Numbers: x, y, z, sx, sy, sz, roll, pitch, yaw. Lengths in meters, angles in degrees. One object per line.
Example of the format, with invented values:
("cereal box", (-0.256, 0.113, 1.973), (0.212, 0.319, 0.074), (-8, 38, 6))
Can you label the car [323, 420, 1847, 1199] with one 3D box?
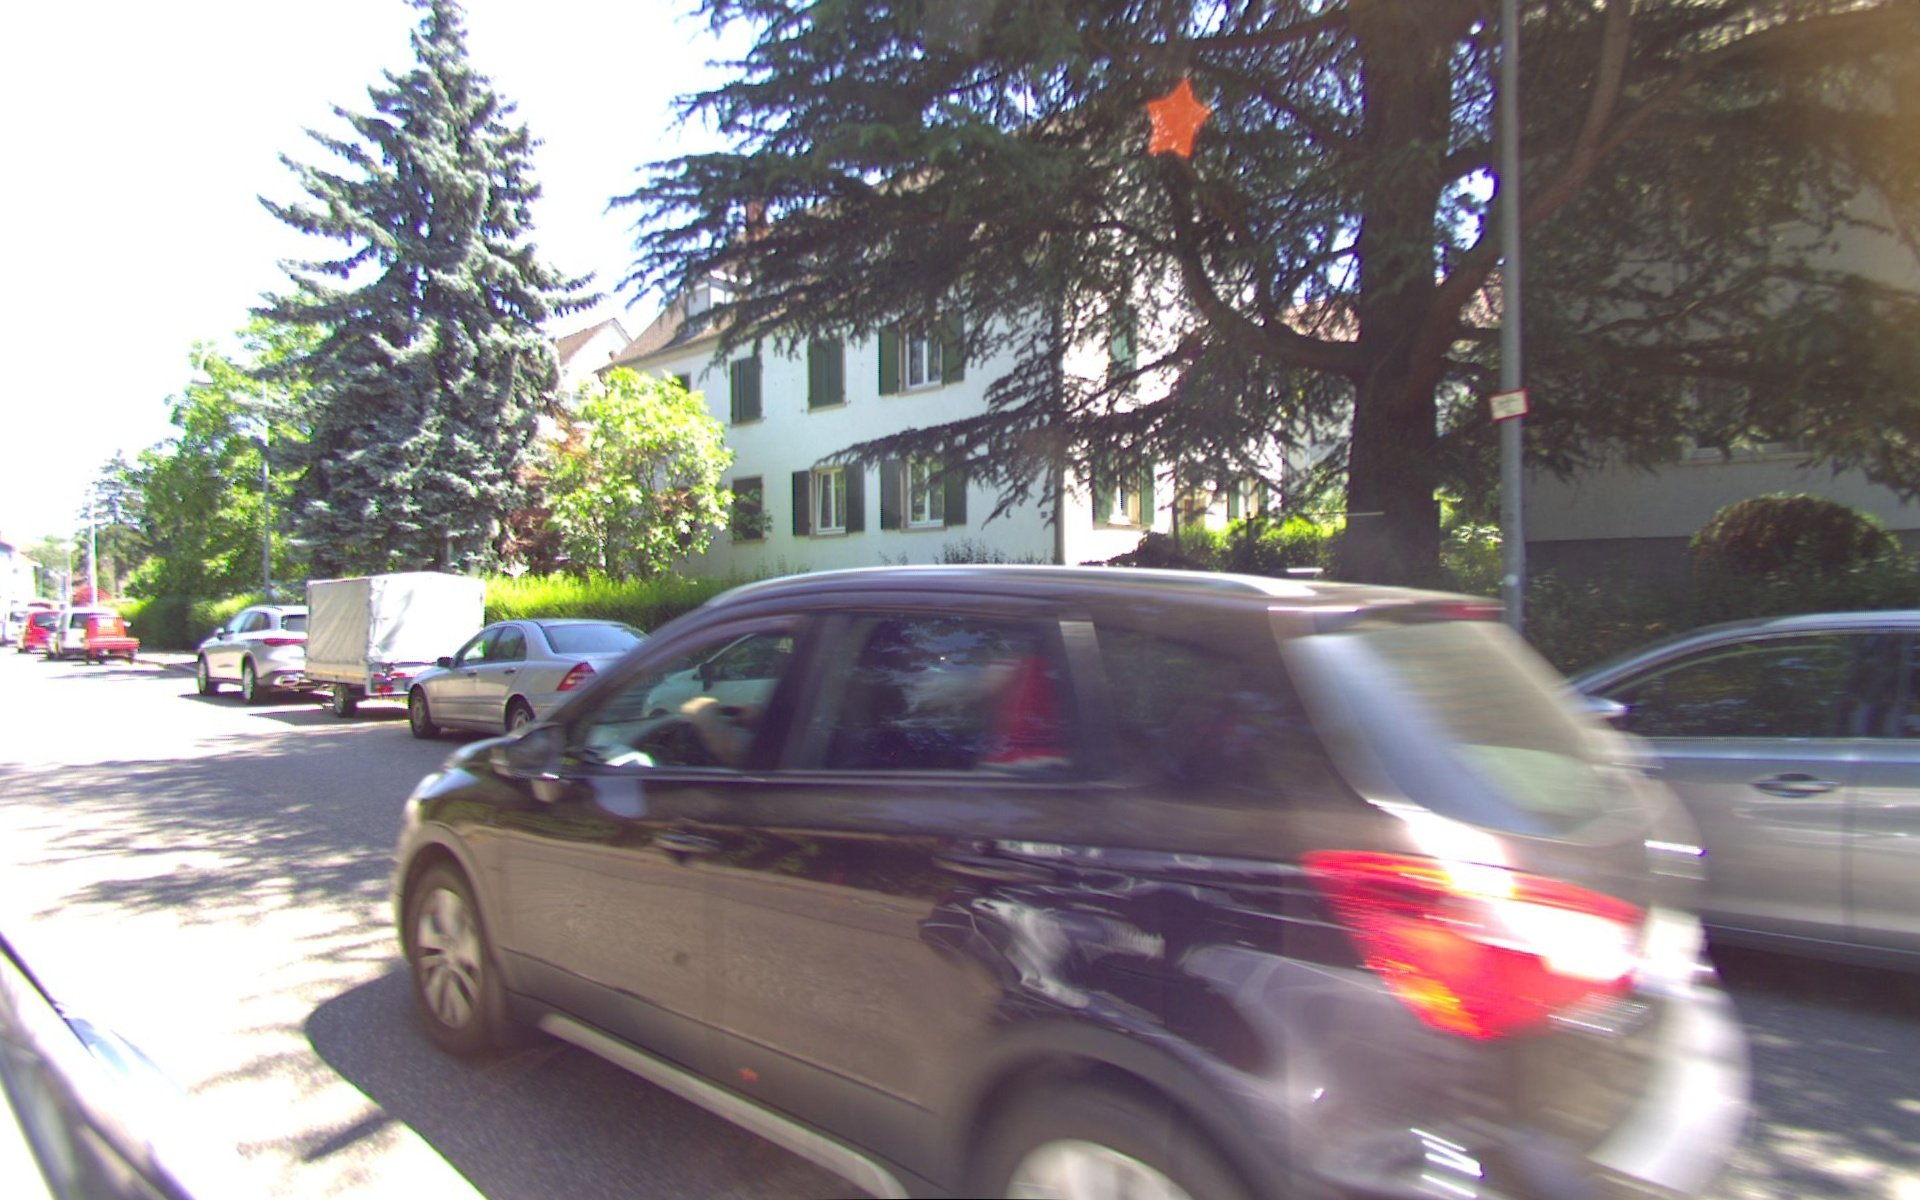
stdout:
("car", (-0.112, 0.632, 3.087), (4.136, 1.586, 1.880), (-1, -1, 39))

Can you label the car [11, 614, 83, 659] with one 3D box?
("car", (-37.342, 1.468, 41.376), (3.613, 1.772, 1.867), (-1, -2, 44))

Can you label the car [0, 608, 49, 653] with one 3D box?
("car", (-47.022, 1.514, 50.579), (4.000, 2.131, 1.867), (-1, -2, 44))

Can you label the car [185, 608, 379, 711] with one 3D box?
("car", (-12.279, 1.000, 18.220), (4.546, 1.631, 1.750), (-1, -2, 41))

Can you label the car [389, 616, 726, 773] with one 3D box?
("car", (-4.727, 0.916, 11.553), (4.475, 1.453, 1.777), (-1, -2, 42))

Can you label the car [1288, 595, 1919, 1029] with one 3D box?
("car", (3.754, 0.725, 4.113), (4.270, 1.453, 1.778), (-1, -2, 41))

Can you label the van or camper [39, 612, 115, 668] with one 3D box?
("van or camper", (-30.206, 1.328, 34.599), (3.888, 1.784, 1.562), (-1, -1, 43))

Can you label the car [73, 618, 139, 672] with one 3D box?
("car", (-26.438, 1.362, 31.331), (2.321, 1.589, 1.291), (-1, -1, 43))

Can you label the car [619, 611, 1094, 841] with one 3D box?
("car", (-1.005, 0.840, 8.408), (3.895, 1.453, 1.777), (-1, -2, 42))

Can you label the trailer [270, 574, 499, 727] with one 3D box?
("trailer", (-8.917, 0.727, 15.568), (3.998, 2.049, 1.795), (-1, -2, 41))

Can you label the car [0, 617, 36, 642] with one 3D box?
("car", (-66.606, 2.064, 71.351), (4.000, 1.650, 1.867), (-1, -2, 44))

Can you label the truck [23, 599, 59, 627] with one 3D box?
("truck", (-99.285, 1.437, 109.369), (2.193, 2.954, 6.738), (2, -2, -37))

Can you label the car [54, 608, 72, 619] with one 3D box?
("car", (-149.621, 2.292, 168.865), (1.863, 1.749, 4.008), (2, -2, -36))
